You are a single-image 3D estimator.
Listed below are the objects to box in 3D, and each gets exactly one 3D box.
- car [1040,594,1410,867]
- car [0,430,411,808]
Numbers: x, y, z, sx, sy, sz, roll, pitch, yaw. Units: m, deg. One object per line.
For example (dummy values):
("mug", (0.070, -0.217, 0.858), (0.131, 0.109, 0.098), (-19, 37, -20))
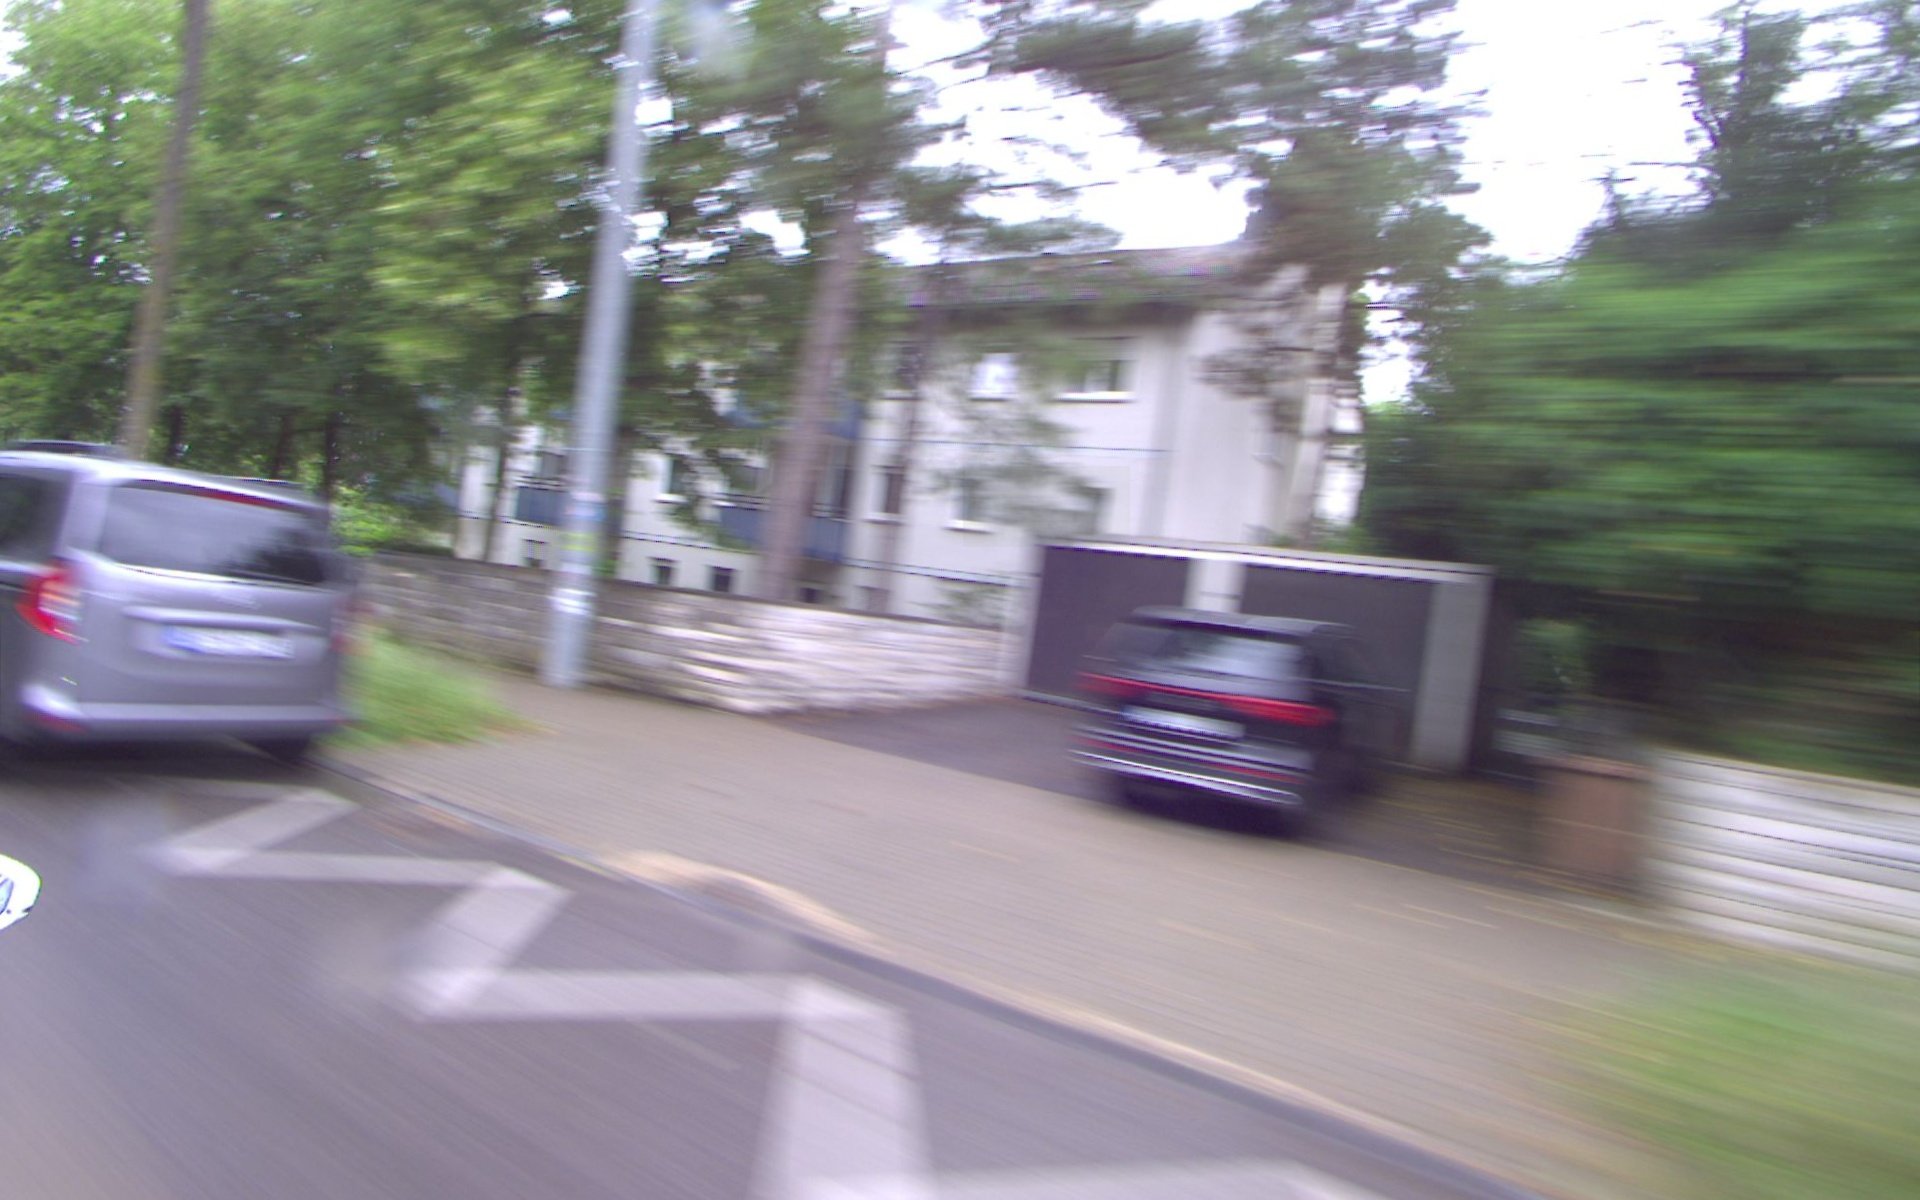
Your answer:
("car", (2.657, 0.964, 9.183), (1.967, 1.704, 4.310), (6, 1, 32))
("car", (-5.907, -0.044, 6.725), (4.210, 1.834, 1.819), (8, -1, 30))
